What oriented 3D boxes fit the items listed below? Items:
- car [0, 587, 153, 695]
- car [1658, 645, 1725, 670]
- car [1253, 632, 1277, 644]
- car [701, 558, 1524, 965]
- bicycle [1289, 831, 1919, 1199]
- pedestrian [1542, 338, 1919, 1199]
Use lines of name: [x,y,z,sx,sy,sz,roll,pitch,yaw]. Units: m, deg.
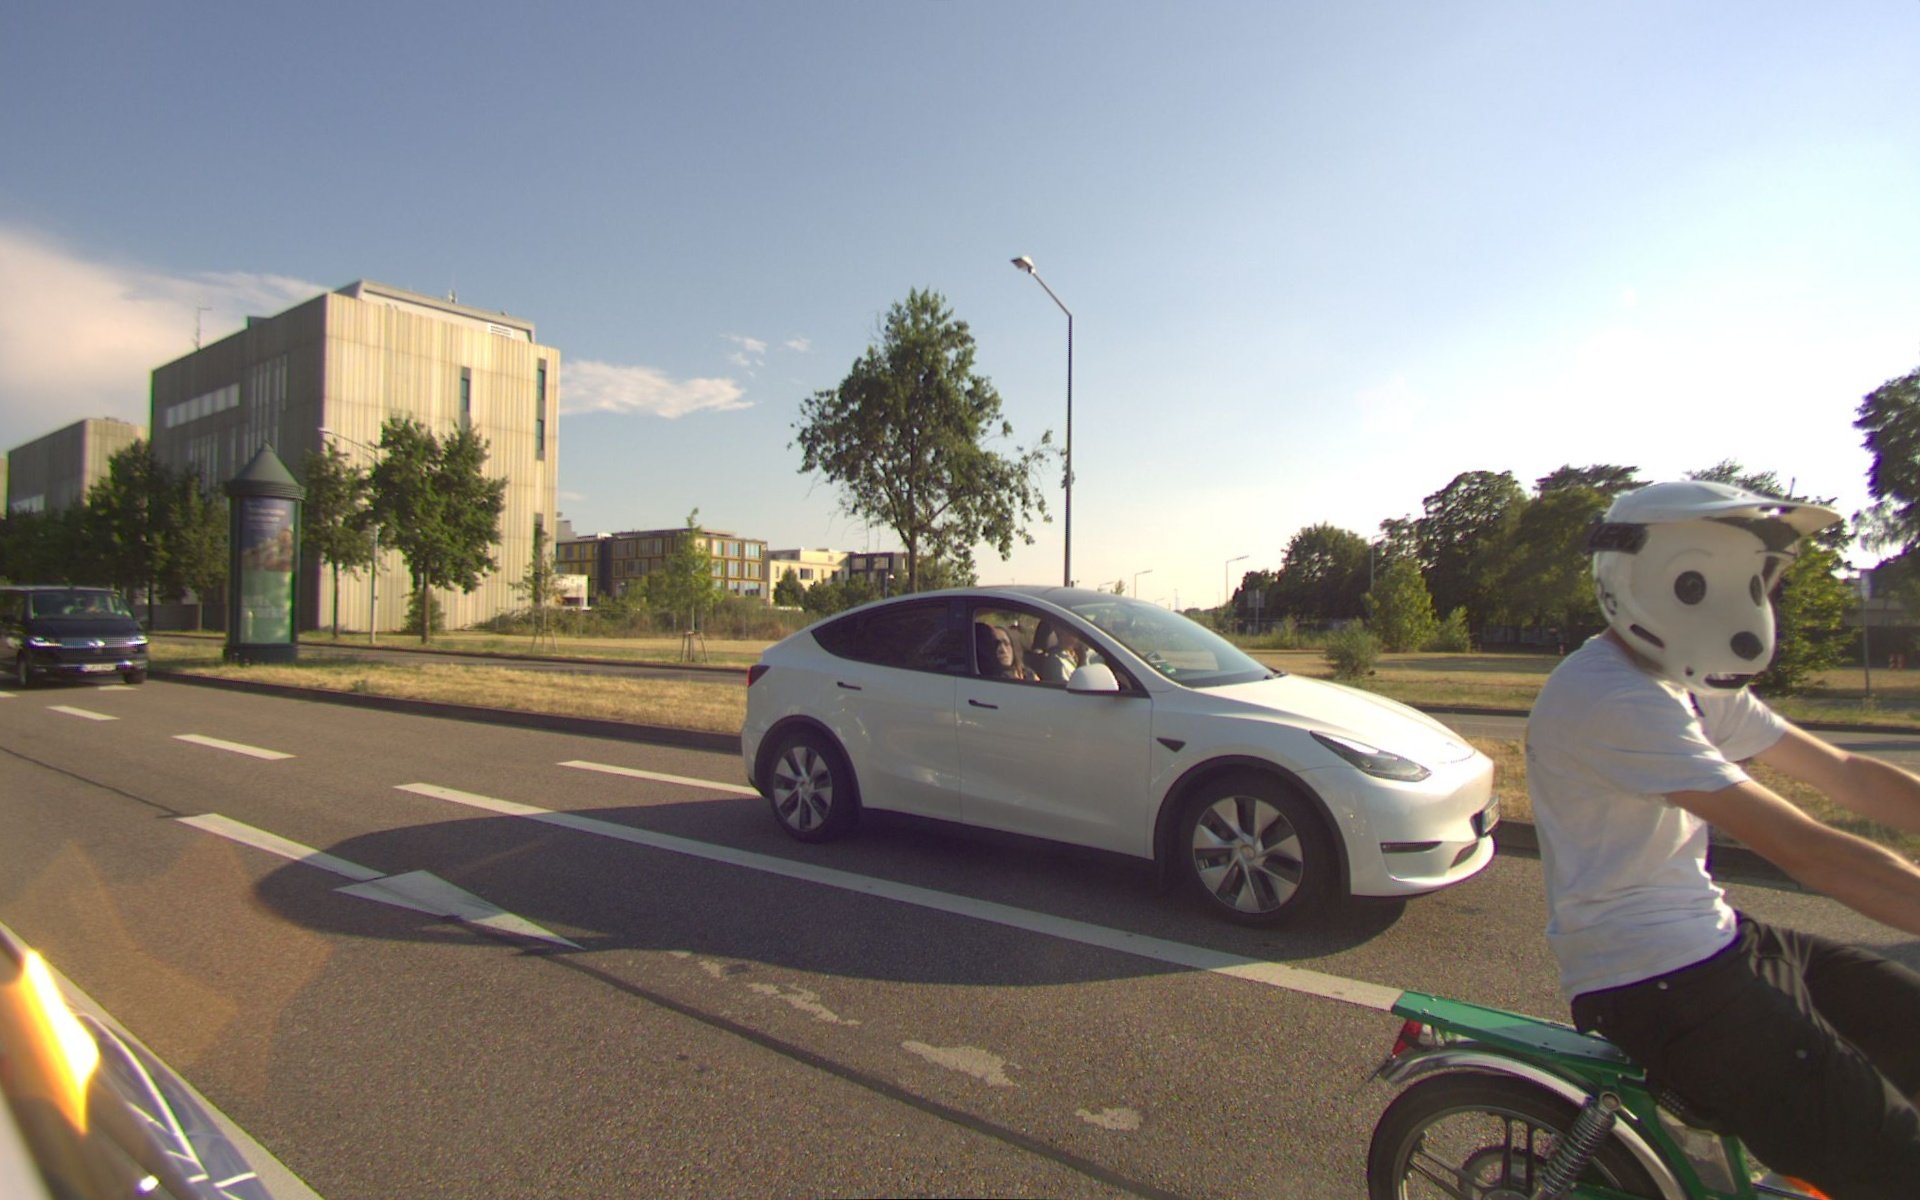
car: [-18.292,0.758,20.468,5.003,1.947,1.839,-1,-1,36]
car: [39.884,3.130,55.226,1.315,1.302,2.810,1,-2,-10]
car: [31.908,3.986,105.987,1.315,1.302,2.810,1,-2,-10]
car: [0.630,0.678,6.121,4.669,1.611,1.719,-1,-1,37]
bicycle: [1.464,0.932,1.447,1.855,0.882,0.472,-1,-3,41]
pedestrian: [1.453,0.432,1.547,0.854,1.530,0.649,-1,-3,41]
